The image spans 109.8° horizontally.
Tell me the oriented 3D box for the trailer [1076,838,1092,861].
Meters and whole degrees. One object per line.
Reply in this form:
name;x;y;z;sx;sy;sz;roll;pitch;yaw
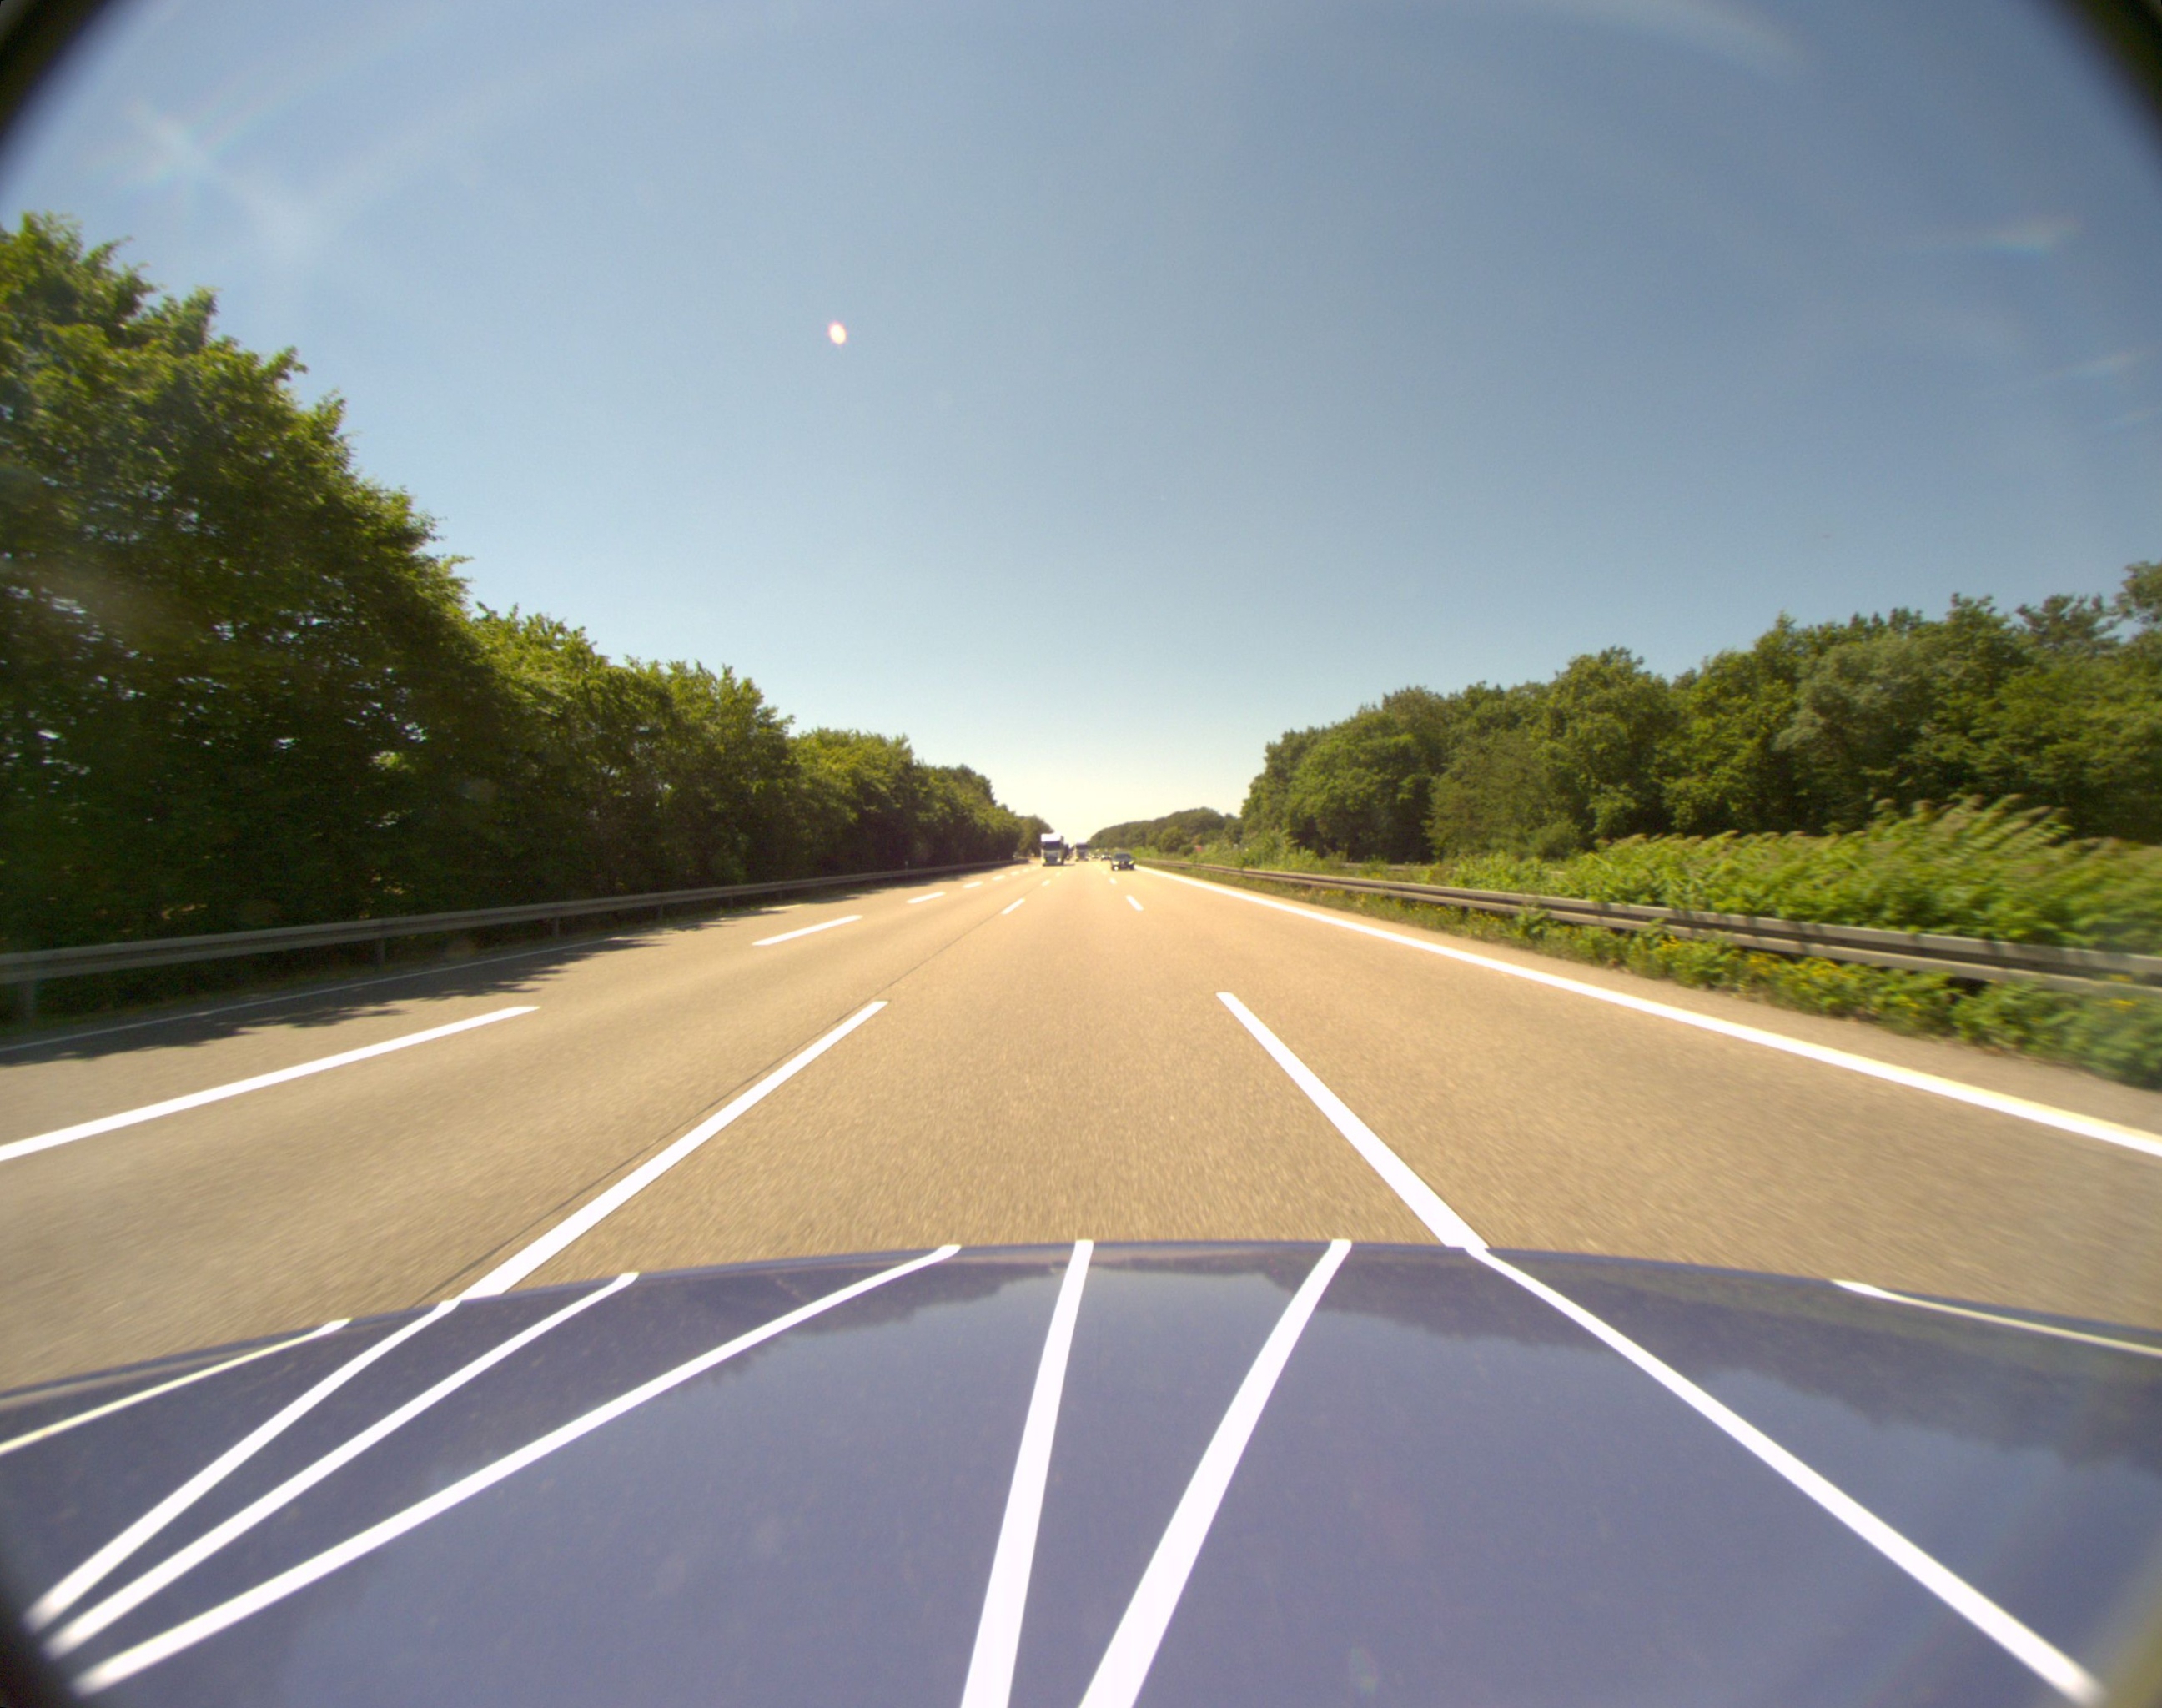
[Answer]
trailer;0.492;-0.945;148.816;2.863;4.247;11.470;-2;1;0

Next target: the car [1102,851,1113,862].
car;4.681;0.406;134.649;1.806;1.774;3.999;-1;1;0

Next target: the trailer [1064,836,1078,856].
trailer;-2.336;-1.766;170.728;2.864;4.247;11.469;-1;1;-1

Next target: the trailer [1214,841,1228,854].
trailer;45.351;-2.168;246.272;3.222;4.112;14.054;-2;1;5

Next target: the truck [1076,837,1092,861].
truck;0.506;-0.886;141.781;2.863;4.247;5.410;-2;1;0

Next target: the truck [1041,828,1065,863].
truck;-3.554;-1.093;98.174;2.864;4.247;6.862;-2;1;-1

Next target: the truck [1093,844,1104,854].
truck;4.183;-1.185;183.752;2.576;2.461;5.614;-2;1;0

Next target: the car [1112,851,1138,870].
car;3.678;0.520;63.711;1.811;1.399;3.999;-4;1;0
